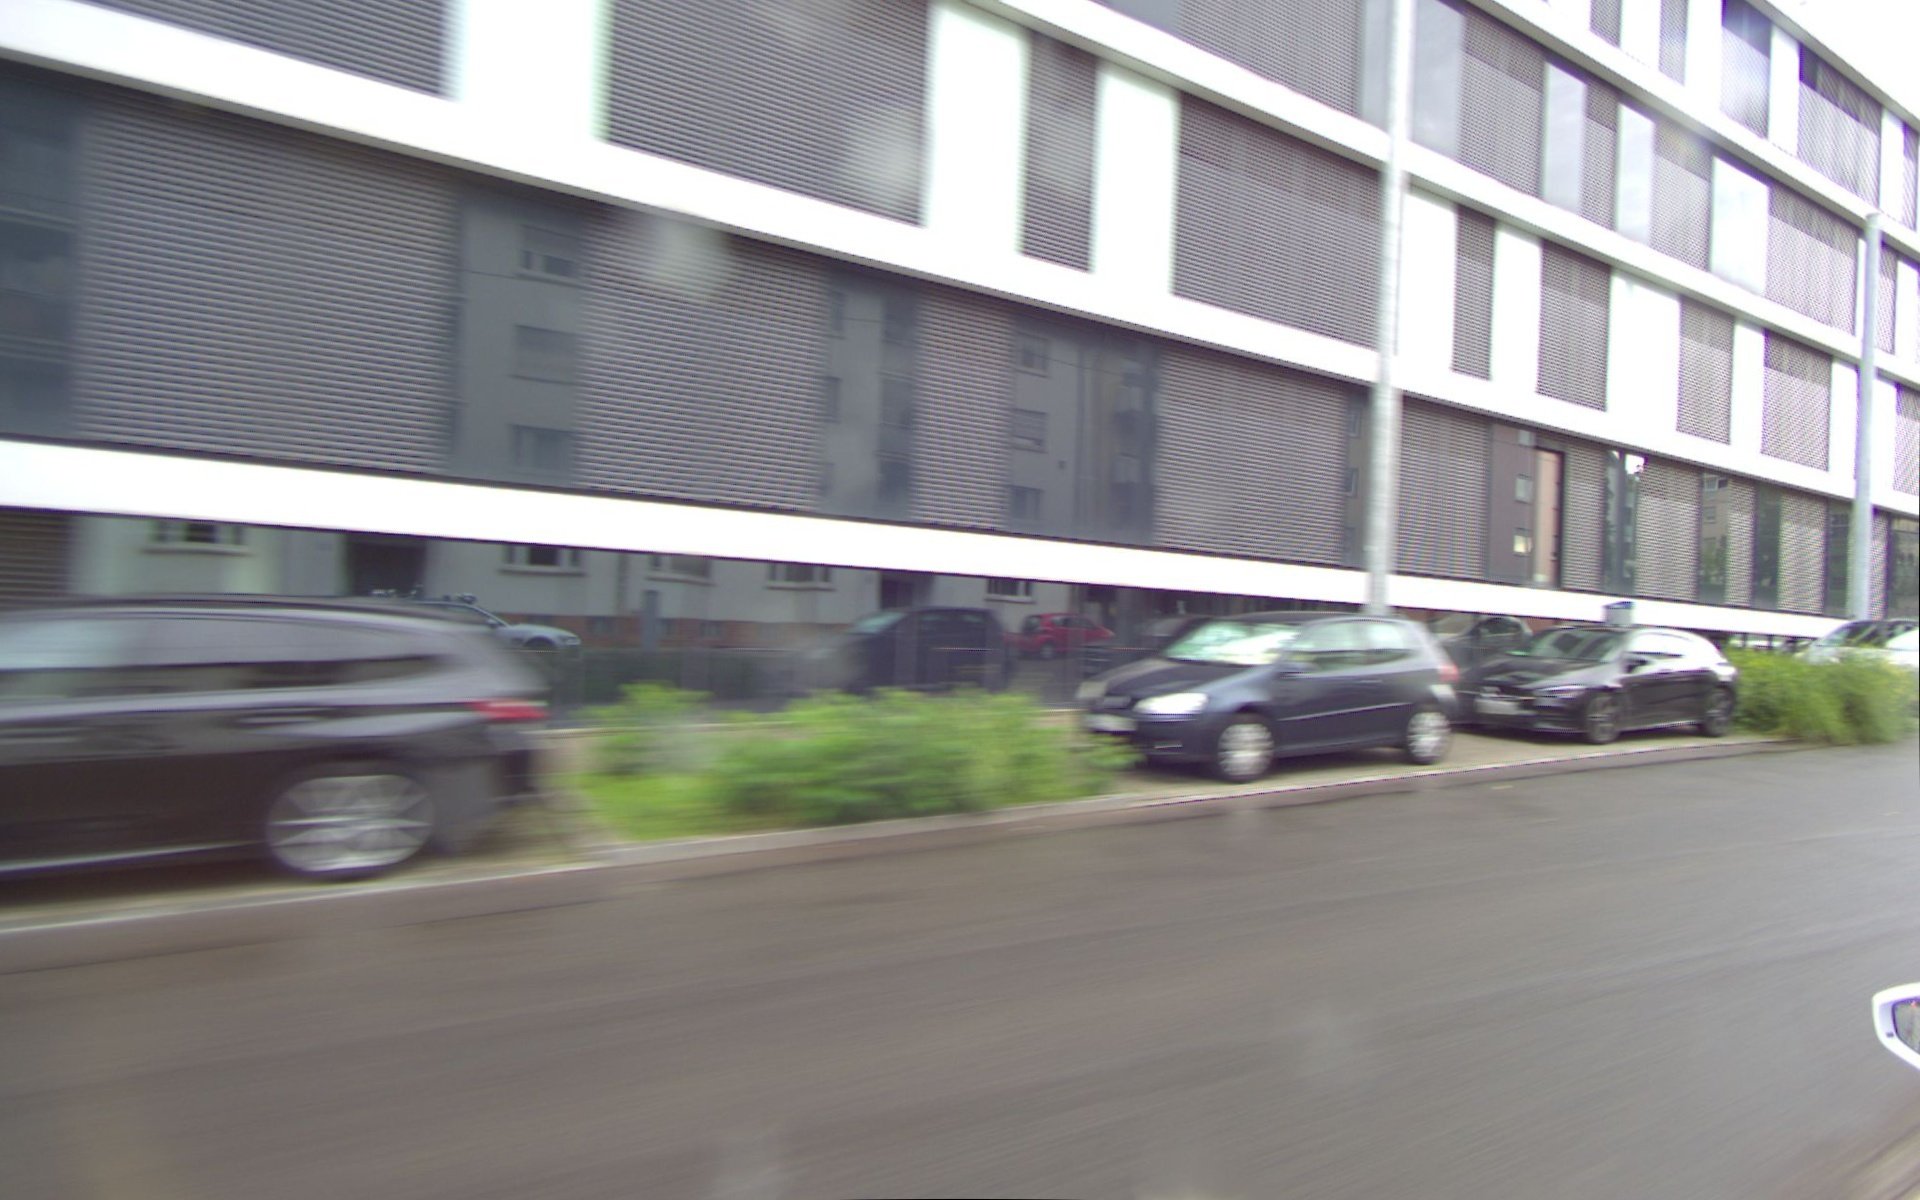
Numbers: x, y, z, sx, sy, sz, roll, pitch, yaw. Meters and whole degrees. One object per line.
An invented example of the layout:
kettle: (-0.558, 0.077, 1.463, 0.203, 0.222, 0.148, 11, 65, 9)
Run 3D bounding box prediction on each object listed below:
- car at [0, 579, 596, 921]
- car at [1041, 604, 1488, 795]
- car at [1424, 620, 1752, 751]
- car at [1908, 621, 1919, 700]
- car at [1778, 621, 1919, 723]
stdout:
car: (-4.574, 0.666, 5.362, 4.685, 1.492, 1.862, 2, 1, -30)
car: (3.120, 0.856, 10.091, 4.295, 1.509, 1.854, 1, 1, -30)
car: (8.351, 1.027, 13.283, 4.340, 1.415, 1.829, 1, 1, -30)
car: (21.951, 1.315, 21.005, 4.180, 1.625, 1.794, 2, 1, -28)
car: (16.729, 1.205, 18.034, 4.265, 1.555, 1.762, 0, 1, -30)
